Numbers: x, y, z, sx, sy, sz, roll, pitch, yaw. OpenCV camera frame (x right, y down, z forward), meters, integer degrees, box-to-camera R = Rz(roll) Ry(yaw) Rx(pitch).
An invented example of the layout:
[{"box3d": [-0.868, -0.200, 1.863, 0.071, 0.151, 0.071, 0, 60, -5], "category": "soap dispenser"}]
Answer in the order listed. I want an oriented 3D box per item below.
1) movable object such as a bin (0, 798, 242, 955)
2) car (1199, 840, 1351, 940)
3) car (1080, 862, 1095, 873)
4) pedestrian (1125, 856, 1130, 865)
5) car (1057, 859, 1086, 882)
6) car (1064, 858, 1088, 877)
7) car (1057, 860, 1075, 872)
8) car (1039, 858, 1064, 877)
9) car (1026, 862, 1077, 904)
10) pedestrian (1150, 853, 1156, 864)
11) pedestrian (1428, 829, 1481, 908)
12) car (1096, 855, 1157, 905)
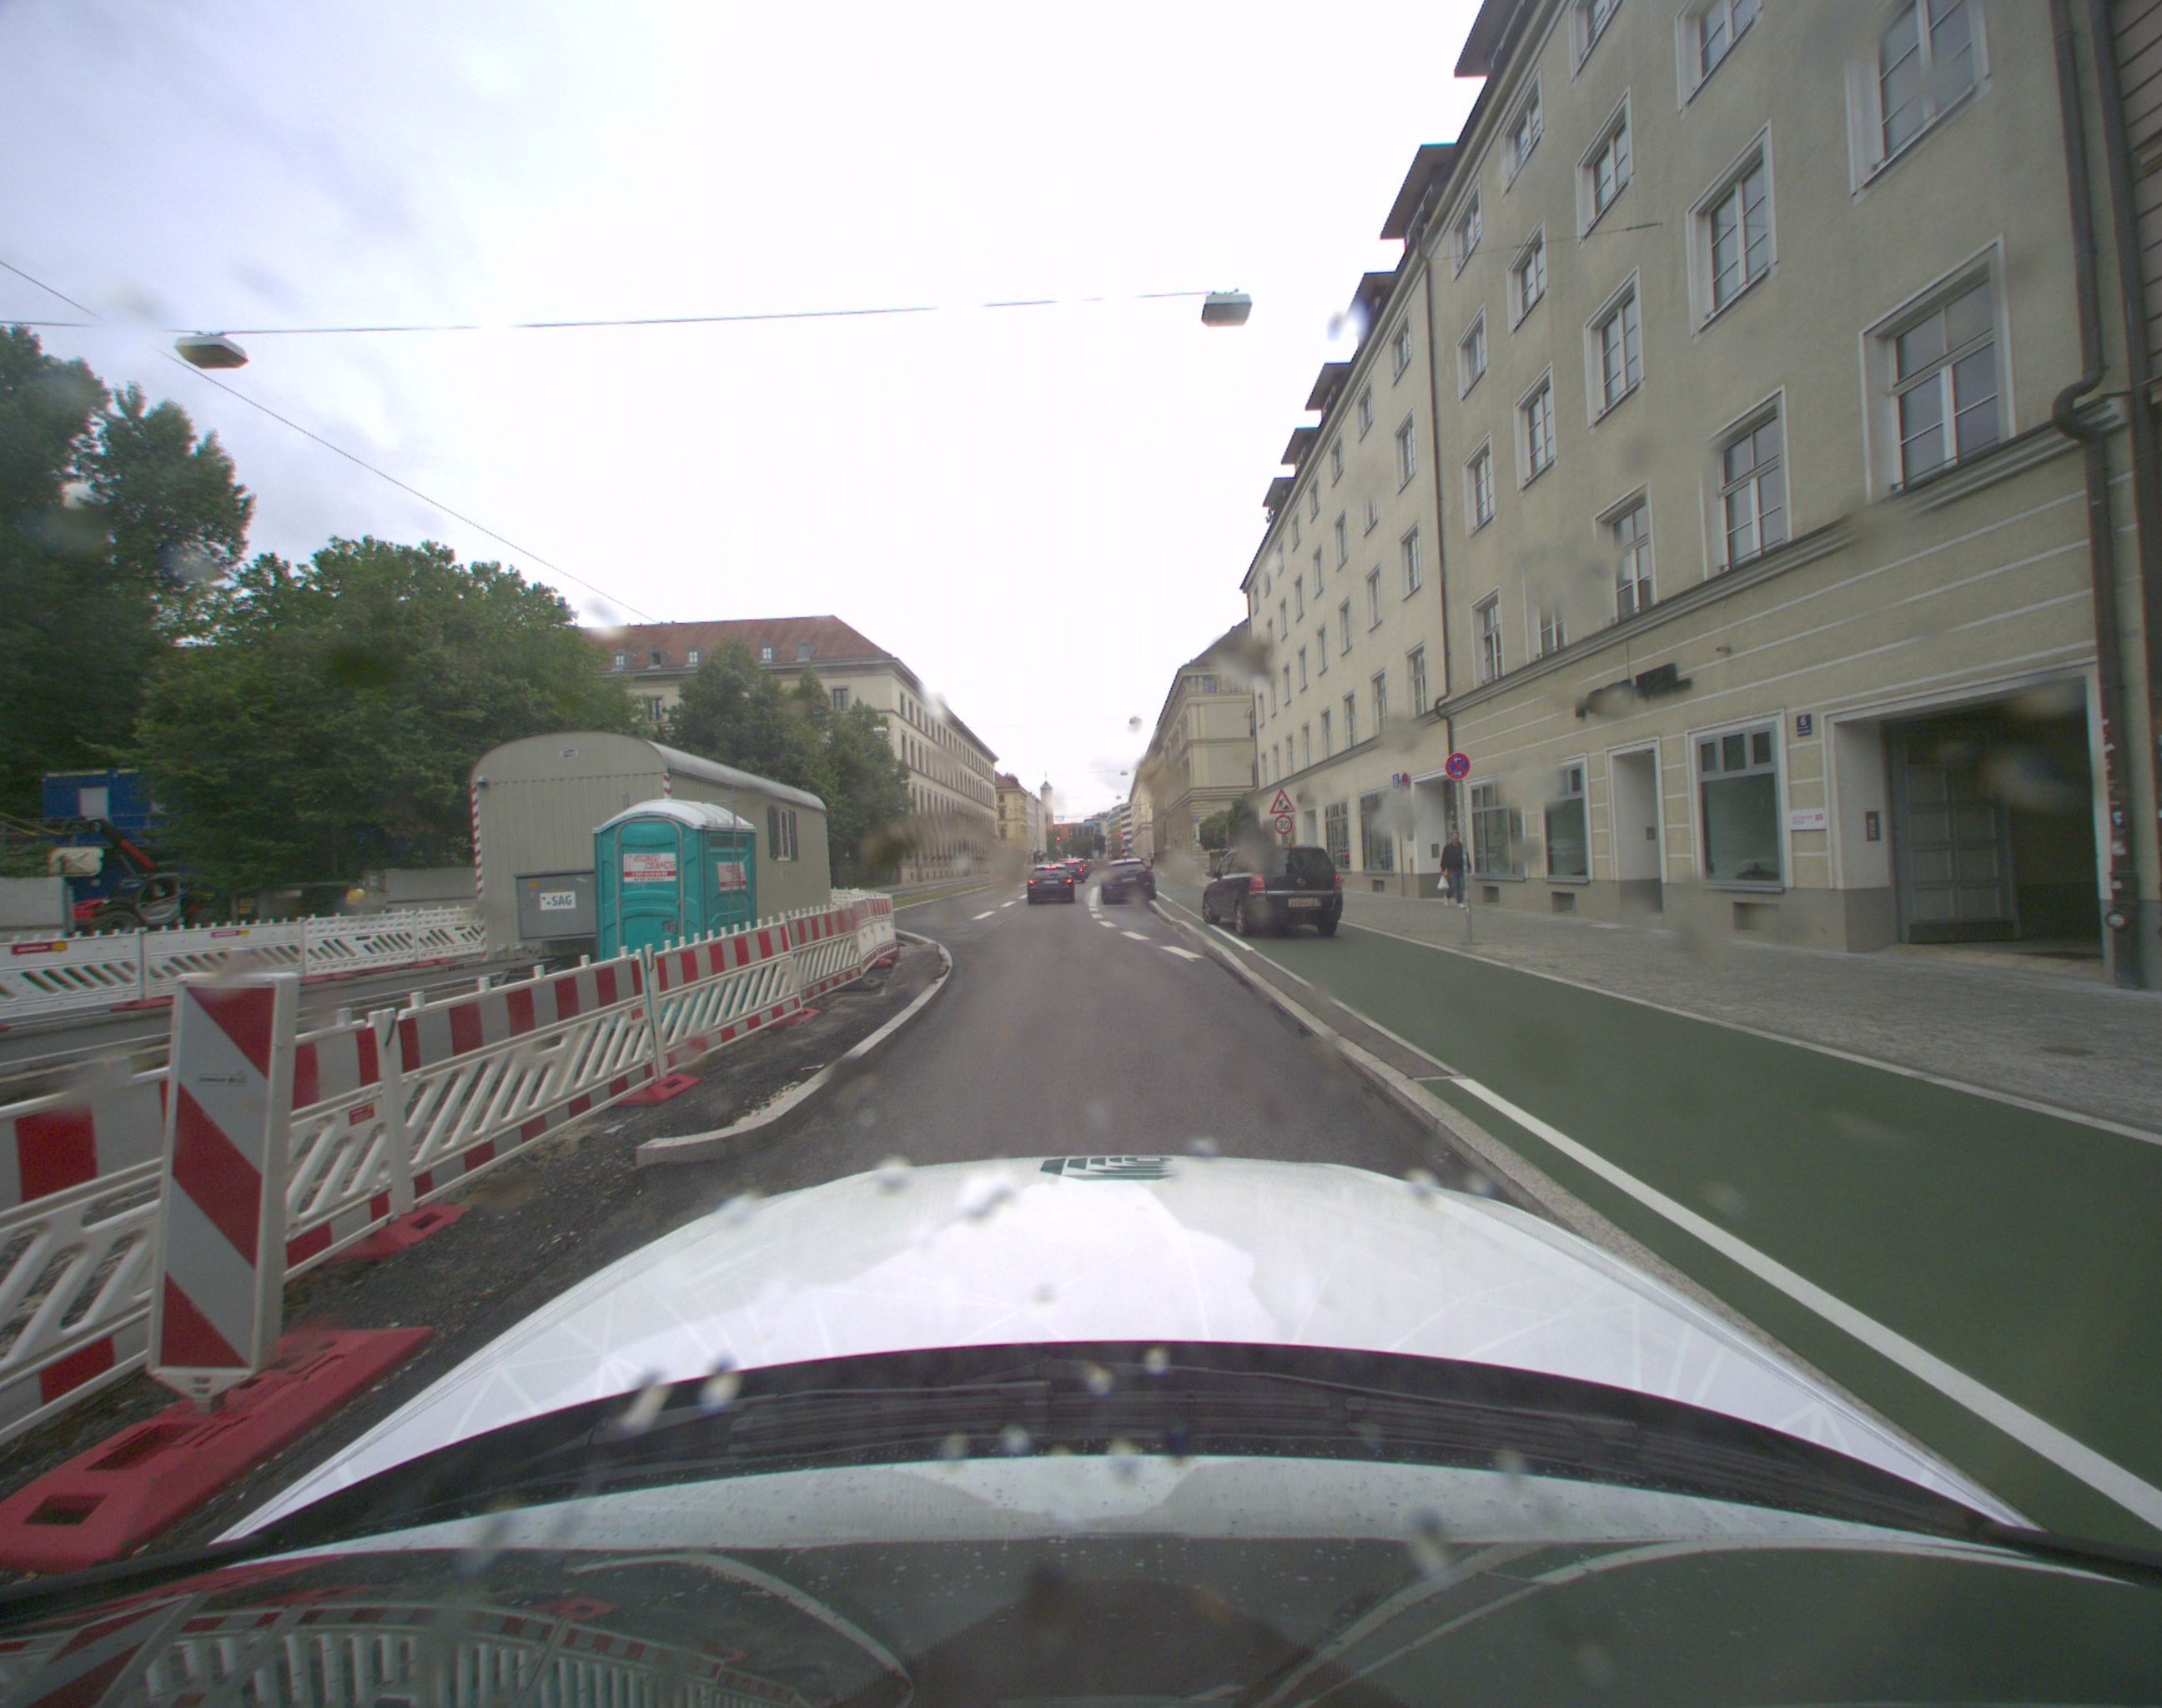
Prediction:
[{"box3d": [-27.911, 0.621, 23.285, 2.457, 3.962, 5.066, -2, 0, 0], "category": "movable object such as a bin"}, {"box3d": [3.516, 0.598, 15.510, 1.760, 1.616, 4.026, -1, 0, -3], "category": "car"}, {"box3d": [1.008, 1.856, 116.405, 1.986, 1.444, 4.002, -2, 0, 2], "category": "car"}, {"box3d": [8.318, 1.186, 145.264, 0.747, 1.618, 0.714, -2, -1, 10], "category": "pedestrian"}, {"box3d": [-0.604, 1.084, 53.628, 1.723, 1.403, 4.001, -1, 0, 2], "category": "car"}, {"box3d": [-0.379, 1.058, 65.420, 1.723, 1.461, 4.001, -1, 0, 2], "category": "car"}, {"box3d": [-1.952, 1.554, 105.933, 1.986, 1.444, 4.002, -2, 0, 2], "category": "car"}, {"box3d": [-2.715, 1.244, 76.156, 1.986, 1.627, 4.002, -2, 0, 2], "category": "car"}, {"box3d": [-1.040, 1.035, 30.544, 1.724, 1.403, 4.000, -1, 0, 0], "category": "car"}, {"box3d": [11.083, 0.732, 125.101, 0.707, 1.618, 0.754, -2, -1, 1], "category": "pedestrian"}, {"box3d": [8.575, 0.331, 18.722, 0.790, 1.745, 0.834, -2, -1, 2], "category": "pedestrian"}, {"box3d": [1.560, 0.875, 29.337, 1.803, 1.480, 4.461, -6, 0, 0], "category": "car"}]
